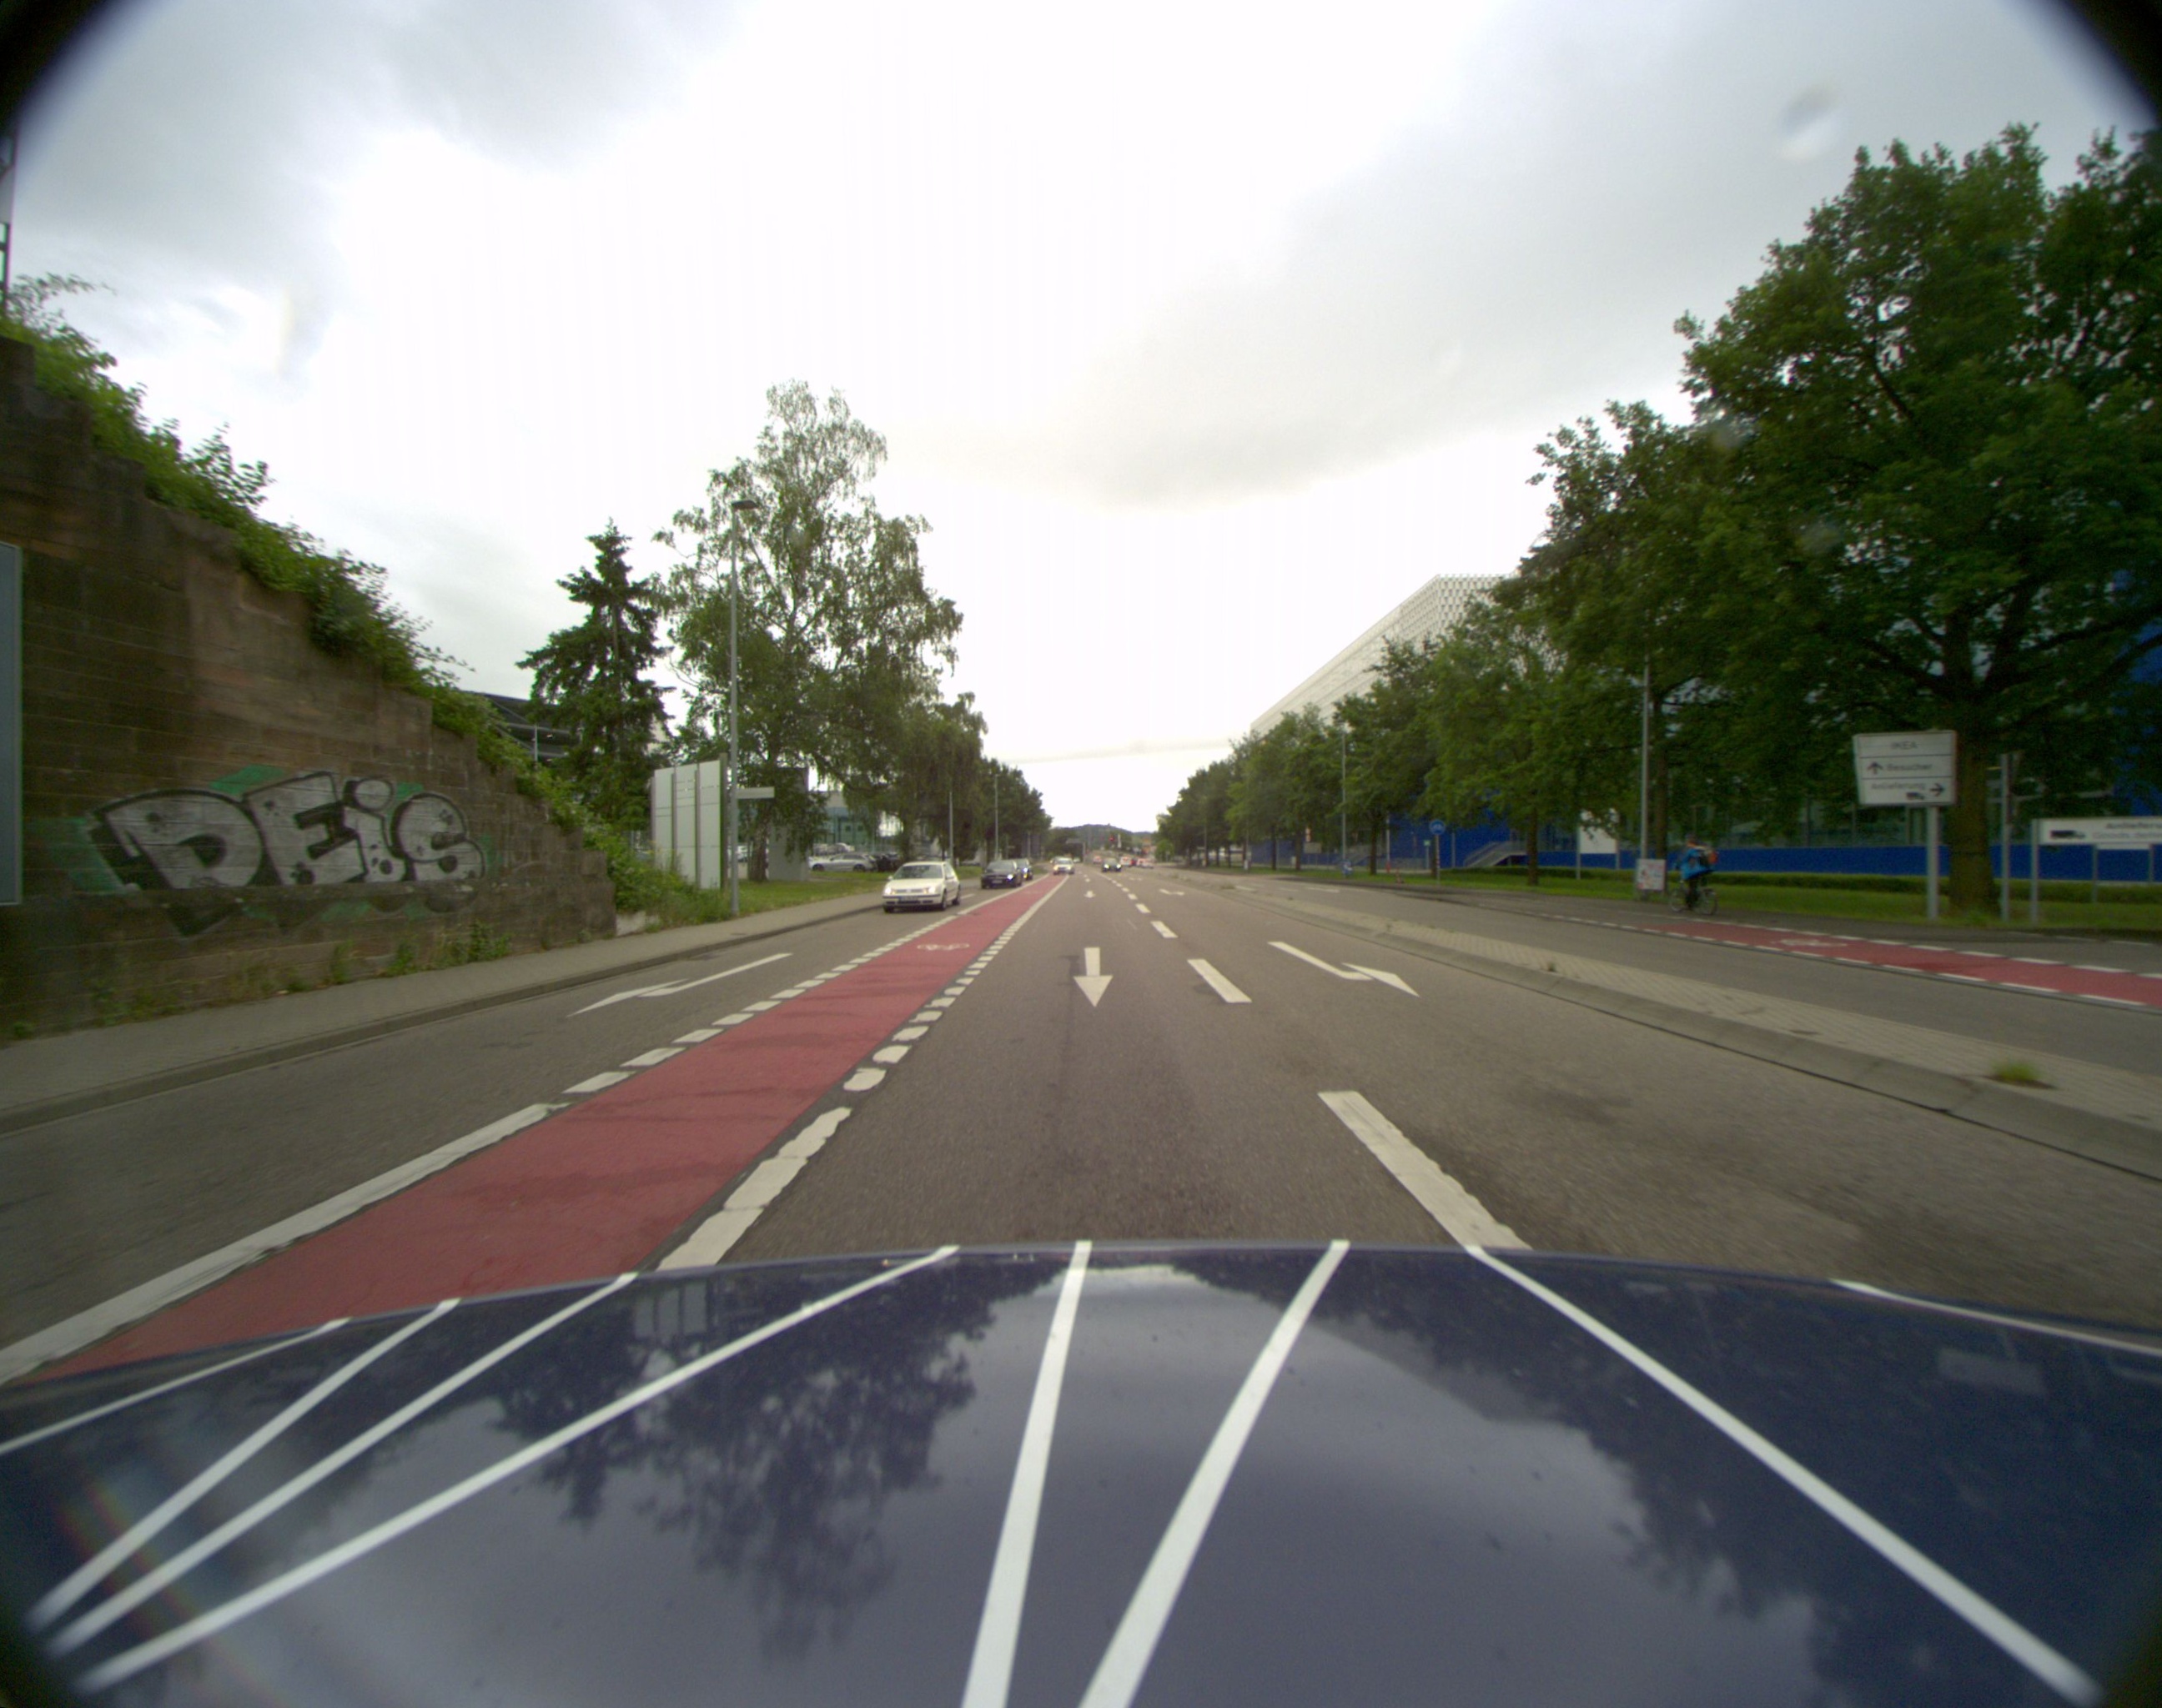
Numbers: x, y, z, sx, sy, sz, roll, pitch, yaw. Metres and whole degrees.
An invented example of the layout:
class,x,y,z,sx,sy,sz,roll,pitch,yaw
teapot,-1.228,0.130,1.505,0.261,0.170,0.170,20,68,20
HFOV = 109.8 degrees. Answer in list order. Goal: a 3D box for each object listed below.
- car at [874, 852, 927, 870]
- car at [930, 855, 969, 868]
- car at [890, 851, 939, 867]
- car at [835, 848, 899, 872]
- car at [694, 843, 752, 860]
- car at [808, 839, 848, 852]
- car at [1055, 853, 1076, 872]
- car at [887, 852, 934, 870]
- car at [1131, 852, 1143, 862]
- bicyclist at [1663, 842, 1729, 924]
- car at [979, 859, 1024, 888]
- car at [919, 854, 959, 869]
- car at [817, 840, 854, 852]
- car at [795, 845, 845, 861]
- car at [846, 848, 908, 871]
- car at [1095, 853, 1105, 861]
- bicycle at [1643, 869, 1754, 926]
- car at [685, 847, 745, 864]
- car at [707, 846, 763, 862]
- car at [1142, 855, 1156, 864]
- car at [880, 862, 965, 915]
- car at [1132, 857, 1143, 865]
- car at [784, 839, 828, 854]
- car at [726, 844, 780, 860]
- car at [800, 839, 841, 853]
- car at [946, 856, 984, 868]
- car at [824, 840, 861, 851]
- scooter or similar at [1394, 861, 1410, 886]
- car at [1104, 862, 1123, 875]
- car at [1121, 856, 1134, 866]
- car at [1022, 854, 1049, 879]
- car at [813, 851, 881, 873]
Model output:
class,x,y,z,sx,sy,sz,roll,pitch,yaw
car,-15.489,0.607,65.285,4.004,1.371,1.811,-3,0,2
car,-15.904,0.927,91.946,4.308,1.350,1.739,-3,0,0
car,-15.531,0.478,71.002,4.002,1.345,1.902,-3,0,1
car,-16.195,0.423,57.664,4.309,1.591,1.969,-3,0,-2
car,-32.263,-0.219,68.544,4.309,1.374,1.700,-3,0,-2
car,-31.860,-1.052,95.657,4.309,1.355,1.832,-3,0,-2
car,-1.619,0.820,75.950,1.995,1.838,4.103,0,0,-3
car,-15.284,0.634,68.174,3.761,1.415,1.953,-3,0,-1
car,10.972,0.561,149.223,1.772,1.913,4.908,1,0,-1
bicyclist,14.446,0.656,17.879,0.703,1.863,1.020,-2,1,1
car,-4.084,0.967,39.629,1.837,1.415,4.000,-1,0,0
car,-16.219,0.851,87.164,4.199,1.423,1.739,-3,0,0
car,-32.592,-1.093,100.903,4.309,1.355,1.832,-3,0,-2
car,-26.123,-0.050,76.164,4.308,1.497,1.902,-1,0,-1
car,-16.198,0.432,60.440,4.308,1.591,1.969,-3,0,1
car,4.328,0.693,173.976,1.651,1.787,3.979,2,0,-6
bicycle,14.461,0.986,17.899,0.714,1.180,2.370,-2,1,1
car,-32.023,0.169,66.603,4.309,1.282,1.832,-3,0,-2
car,-32.179,0.010,70.828,4.309,1.240,1.832,-3,0,-2
car,11.006,0.893,122.560,1.681,1.420,3.650,2,0,-3
car,-4.670,0.985,22.972,1.726,1.415,3.941,-1,0,0
car,9.848,1.180,133.567,1.628,1.414,3.611,1,0,0
car,-31.755,-0.889,87.899,4.309,1.503,1.832,-3,0,-2
car,-31.645,-0.203,73.409,4.309,1.364,1.832,-3,0,-2
car,-31.823,-0.977,93.016,4.308,1.582,1.896,-3,0,2
car,-15.976,1.099,104.820,4.763,1.416,1.902,-3,0,0
car,-32.512,-1.139,103.681,4.309,1.355,1.832,-3,0,-2
scooter or similar,16.934,1.027,40.092,0.448,1.314,1.506,0,0,10
car,3.456,1.543,81.813,1.837,1.415,4.000,-1,0,0
car,7.642,1.174,126.224,1.822,1.577,4.513,2,0,0
car,-3.251,0.851,53.650,1.788,1.637,3.998,0,0,-5
car,-16.489,0.585,53.650,4.310,1.480,1.739,-1,0,-5
